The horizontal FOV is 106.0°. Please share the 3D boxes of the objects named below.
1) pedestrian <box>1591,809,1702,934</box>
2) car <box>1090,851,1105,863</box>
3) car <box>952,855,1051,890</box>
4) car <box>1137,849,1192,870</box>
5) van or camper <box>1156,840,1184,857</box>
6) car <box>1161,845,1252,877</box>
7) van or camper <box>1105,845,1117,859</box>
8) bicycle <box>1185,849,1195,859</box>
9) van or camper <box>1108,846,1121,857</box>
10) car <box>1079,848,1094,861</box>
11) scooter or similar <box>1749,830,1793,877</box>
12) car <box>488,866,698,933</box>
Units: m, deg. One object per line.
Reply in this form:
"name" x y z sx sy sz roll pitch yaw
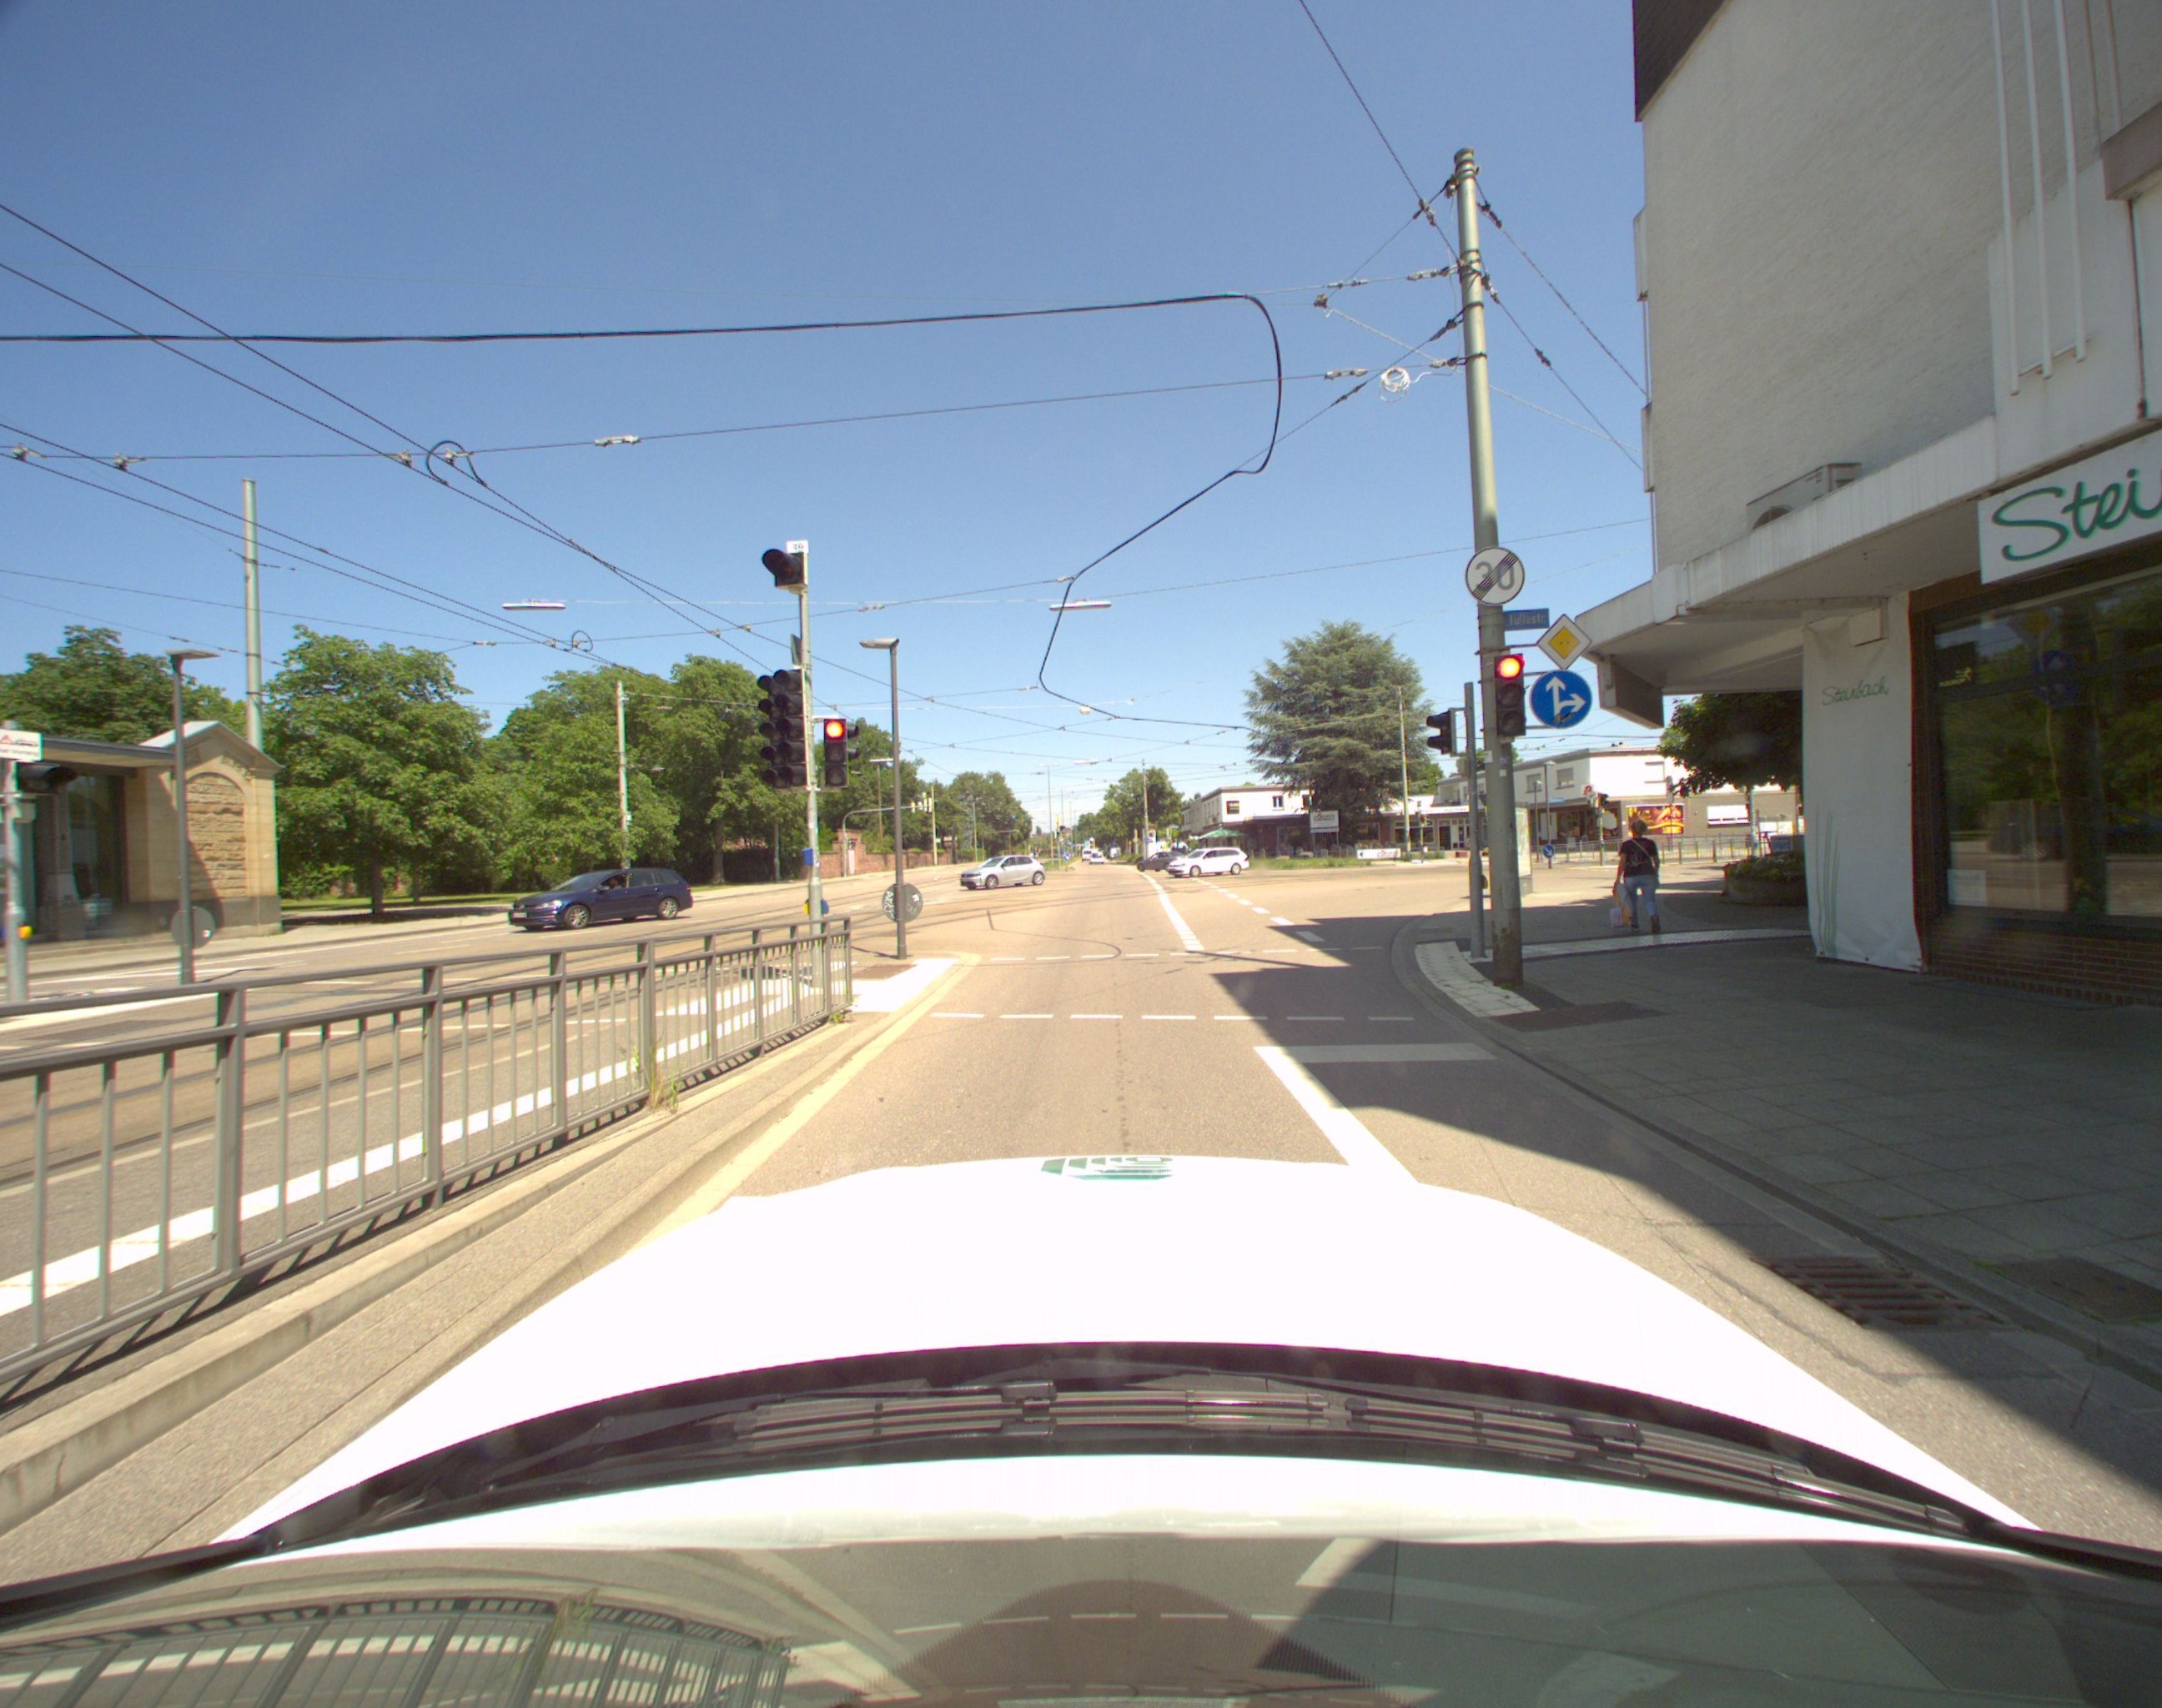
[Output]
"pedestrian" 7.722 0.233 11.163 0.822 1.583 0.828 -6 -1 7
"car" 2.030 0.350 96.844 1.664 1.435 3.476 -2 0 2
"car" -3.539 0.810 36.619 4.073 1.362 1.802 -2 0 -41
"car" 5.877 0.399 57.650 1.651 1.351 3.797 -2 0 -40
"van or camper" 15.638 -0.982 143.253 4.742 2.671 2.135 -2 0 -1
"car" 6.622 0.336 42.805 4.509 1.489 1.808 -2 0 -27
"van or camper" 5.596 -0.416 152.940 1.988 2.464 3.998 -2 0 -2
"bicycle" 11.309 -0.035 84.404 1.028 1.014 2.643 -2 0 8
"van or camper" 5.369 -0.400 130.461 1.915 1.772 4.002 -2 0 2
"car" 0.819 0.108 120.030 1.988 1.859 3.998 -2 0 -1
"scooter or similar" 18.693 -0.015 22.061 1.258 1.212 0.391 -2 0 -26
"car" -12.664 1.123 21.501 1.840 1.442 4.503 -2 0 22
